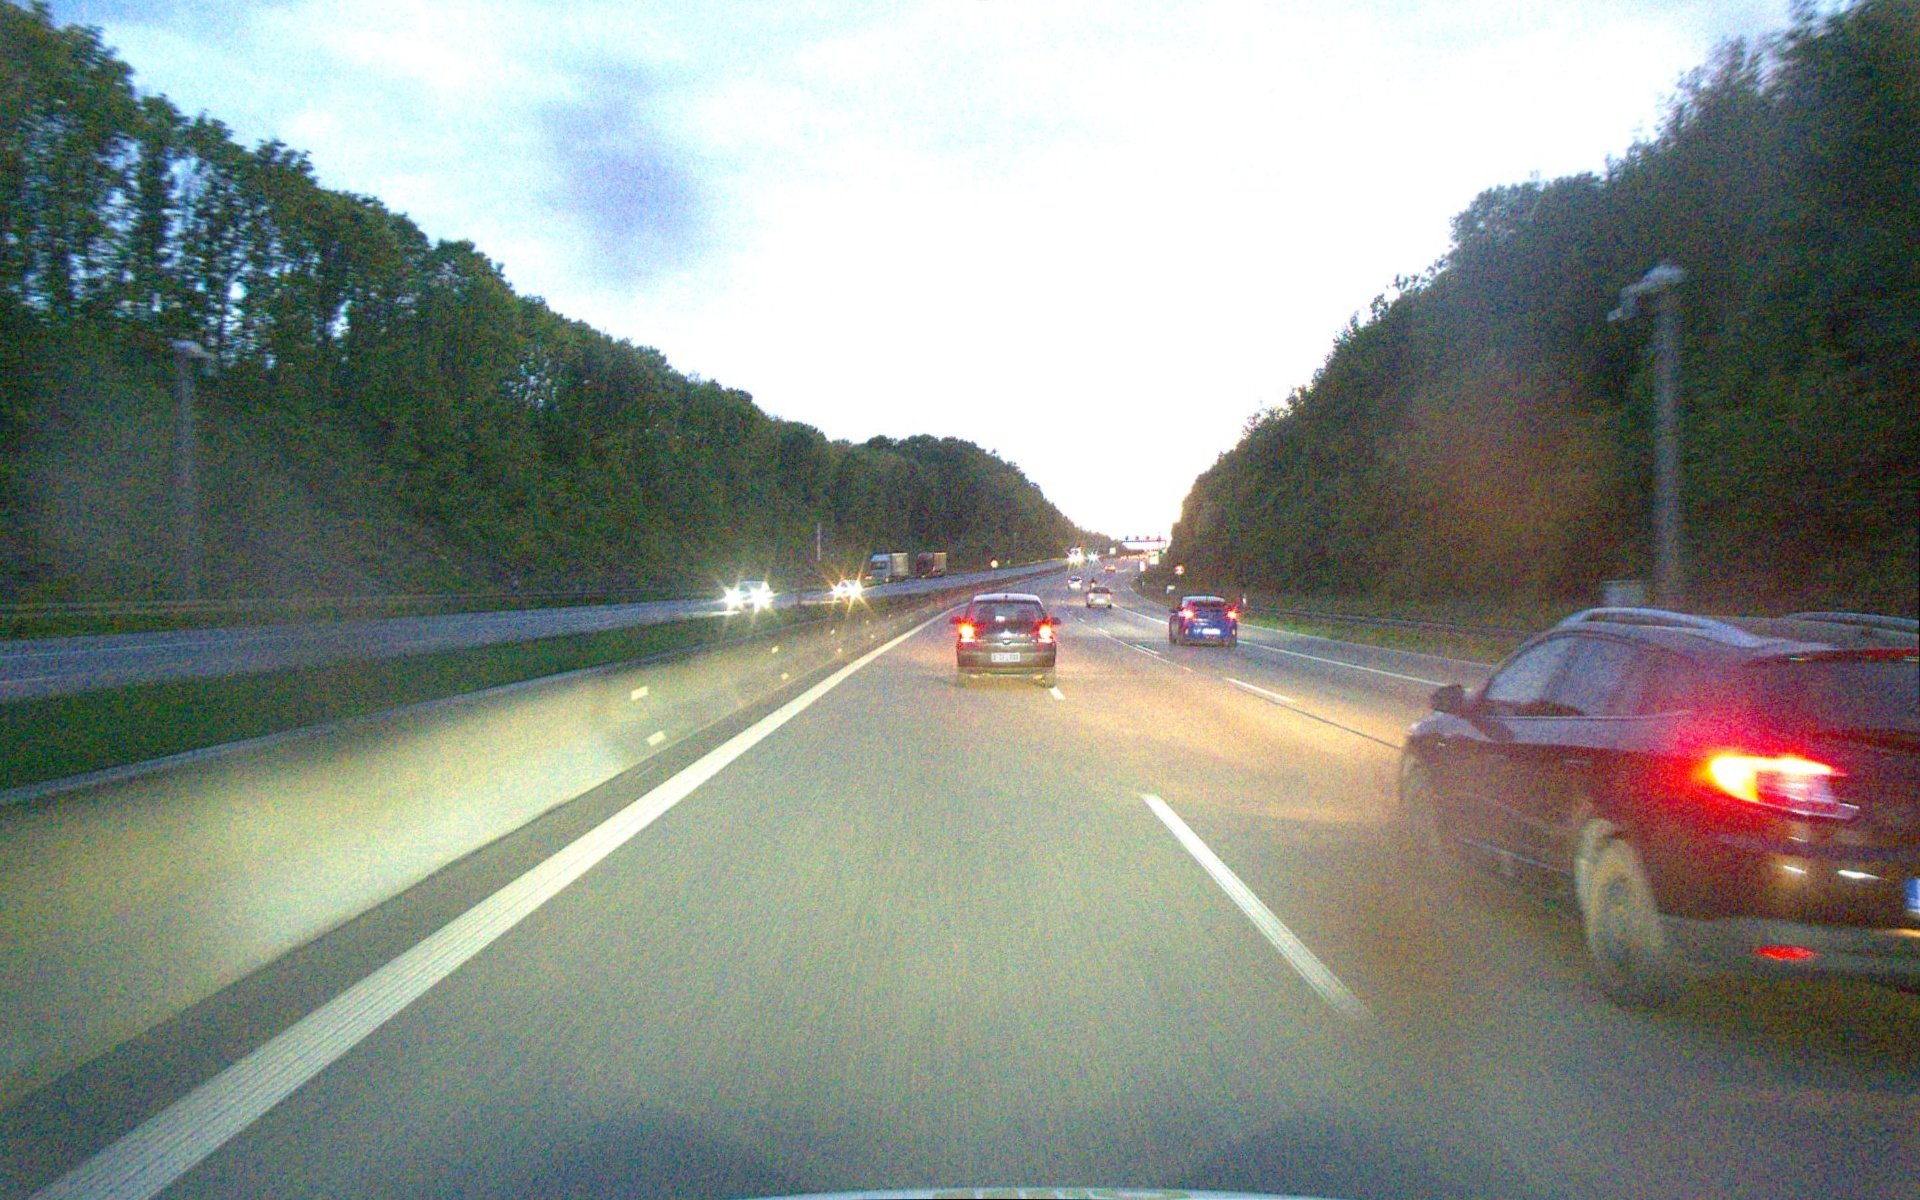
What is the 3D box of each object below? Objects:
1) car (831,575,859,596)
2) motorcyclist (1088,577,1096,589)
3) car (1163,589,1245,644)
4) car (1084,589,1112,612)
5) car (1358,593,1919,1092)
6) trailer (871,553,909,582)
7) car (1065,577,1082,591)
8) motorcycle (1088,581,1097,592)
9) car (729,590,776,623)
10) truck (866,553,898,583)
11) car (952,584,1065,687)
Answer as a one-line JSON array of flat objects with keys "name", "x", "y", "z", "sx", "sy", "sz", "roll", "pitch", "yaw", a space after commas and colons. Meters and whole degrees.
[{"name": "car", "x": -8.427, "y": -1.055, "z": 121.685, "sx": 1.783, "sy": 1.504, "sz": 4.370, "roll": 1, "pitch": 1, "yaw": -1}, {"name": "motorcyclist", "x": 14.191, "y": -1.817, "z": 177.483, "sx": 0.812, "sy": 1.314, "sz": 1.191, "roll": 0, "pitch": 1, "yaw": 7}, {"name": "car", "x": 7.277, "y": 0.470, "z": 49.656, "sx": 1.827, "sy": 1.460, "sz": 4.585, "roll": 1, "pitch": 1, "yaw": 1}, {"name": "car", "x": 9.435, "y": 0.033, "z": 113.217, "sx": 1.787, "sy": 1.501, "sz": 4.401, "roll": 1, "pitch": 1, "yaw": 3}, {"name": "car", "x": 3.288, "y": 0.745, "z": 7.571, "sx": 1.657, "sy": 1.516, "sz": 4.948, "roll": 1, "pitch": 0, "yaw": -1}, {"name": "trailer", "x": -10.223, "y": -4.775, "z": 243.278, "sx": 3.123, "sy": 4.176, "sz": 13.753, "roll": 0, "pitch": 1, "yaw": 8}, {"name": "car", "x": 13.154, "y": -1.879, "z": 192.124, "sx": 1.826, "sy": 1.520, "sz": 4.401, "roll": 1, "pitch": 1, "yaw": 3}, {"name": "motorcycle", "x": 14.208, "y": -1.415, "z": 177.555, "sx": 0.812, "sy": 1.154, "sz": 2.478, "roll": 0, "pitch": 1, "yaw": 7}, {"name": "car", "x": -10.234, "y": 0.310, "z": 81.815, "sx": 1.783, "sy": 1.504, "sz": 4.370, "roll": 1, "pitch": 1, "yaw": -1}, {"name": "truck", "x": -11.106, "y": -4.596, "z": 236.890, "sx": 3.123, "sy": 4.176, "sz": 7.696, "roll": 0, "pitch": 1, "yaw": 8}, {"name": "car", "x": 0.730, "y": 0.521, "z": 27.450, "sx": 1.669, "sy": 1.535, "sz": 4.231, "roll": 1, "pitch": 1, "yaw": -1}]
